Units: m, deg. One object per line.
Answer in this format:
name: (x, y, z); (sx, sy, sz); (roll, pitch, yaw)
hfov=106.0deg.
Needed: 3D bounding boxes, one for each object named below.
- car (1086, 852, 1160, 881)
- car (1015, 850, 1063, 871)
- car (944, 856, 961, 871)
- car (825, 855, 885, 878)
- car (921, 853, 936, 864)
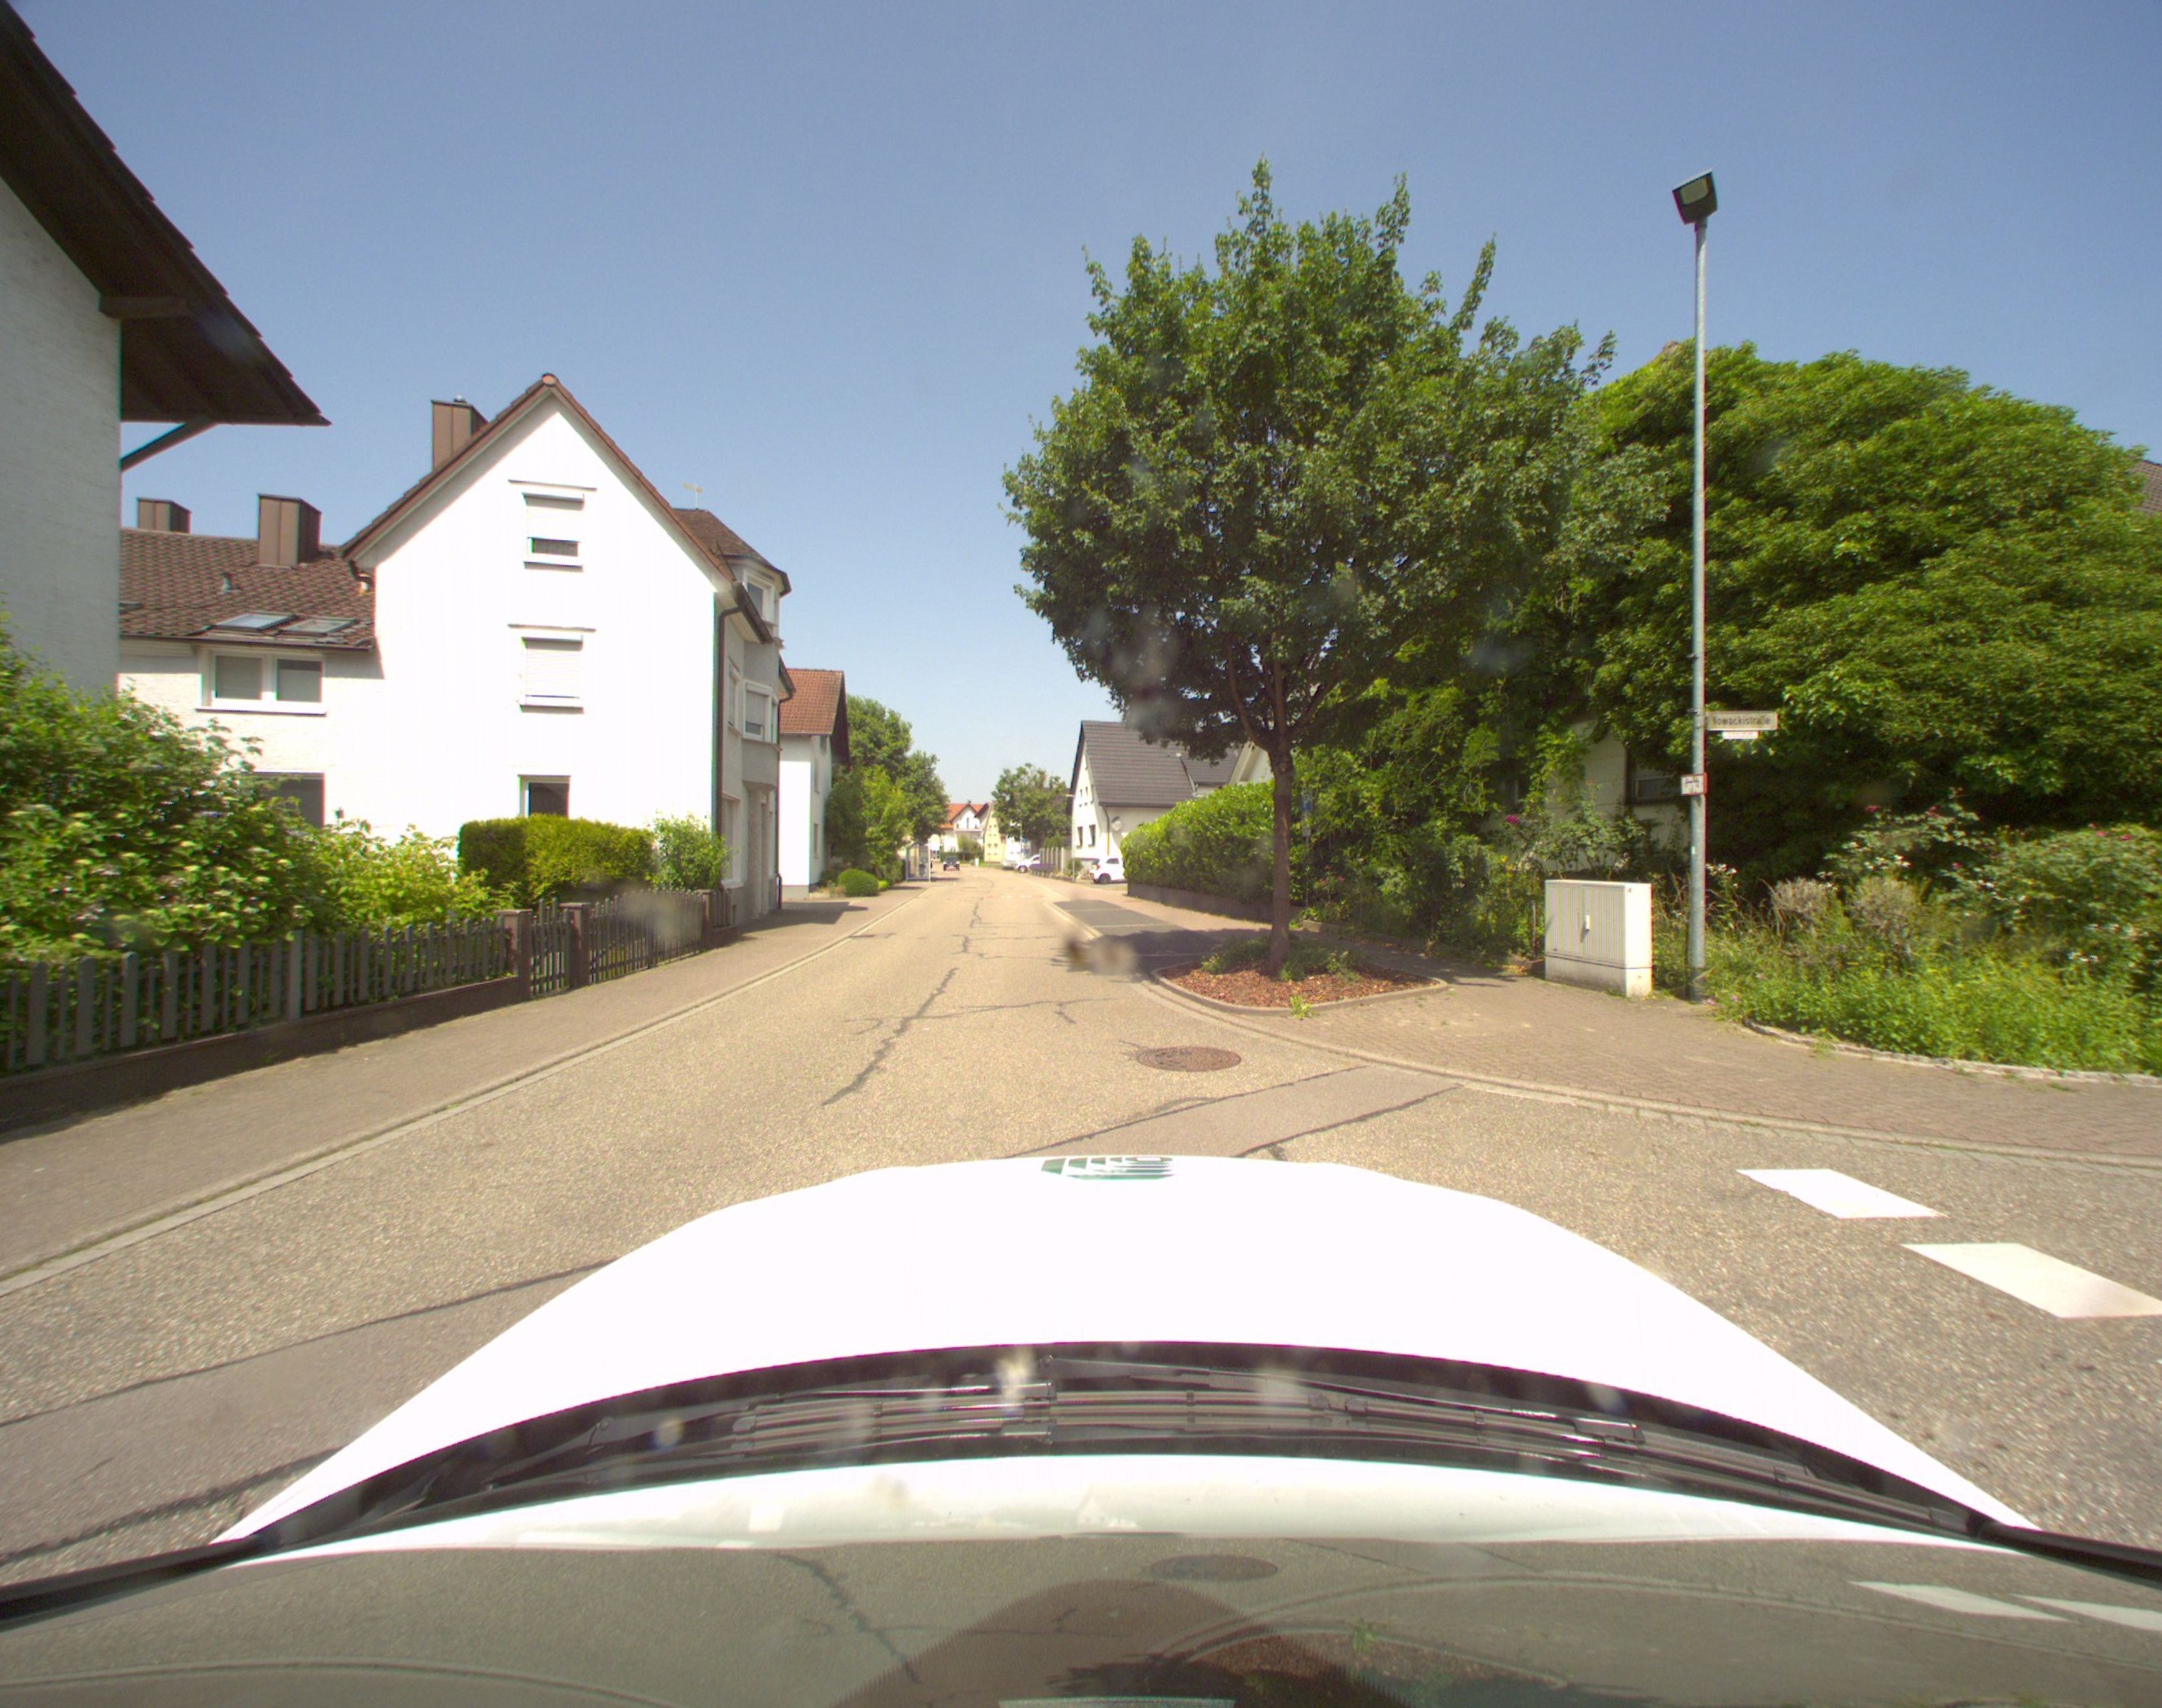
car: (2.290, 0.665, 44.490); (3.663, 1.474, 1.757); (-1, 1, -15)
car: (-3.949, 0.588, 76.254); (4.315, 1.766, 1.886); (-2, 2, -9)
car: (-14.603, 1.051, 92.407); (1.776, 1.623, 4.091); (-1, 0, -10)
car: (-16.827, 0.929, 60.872); (4.163, 1.538, 1.766); (-2, 0, -12)
car: (-20.661, 0.627, 110.418); (1.630, 1.486, 3.979); (-1, 0, -16)
